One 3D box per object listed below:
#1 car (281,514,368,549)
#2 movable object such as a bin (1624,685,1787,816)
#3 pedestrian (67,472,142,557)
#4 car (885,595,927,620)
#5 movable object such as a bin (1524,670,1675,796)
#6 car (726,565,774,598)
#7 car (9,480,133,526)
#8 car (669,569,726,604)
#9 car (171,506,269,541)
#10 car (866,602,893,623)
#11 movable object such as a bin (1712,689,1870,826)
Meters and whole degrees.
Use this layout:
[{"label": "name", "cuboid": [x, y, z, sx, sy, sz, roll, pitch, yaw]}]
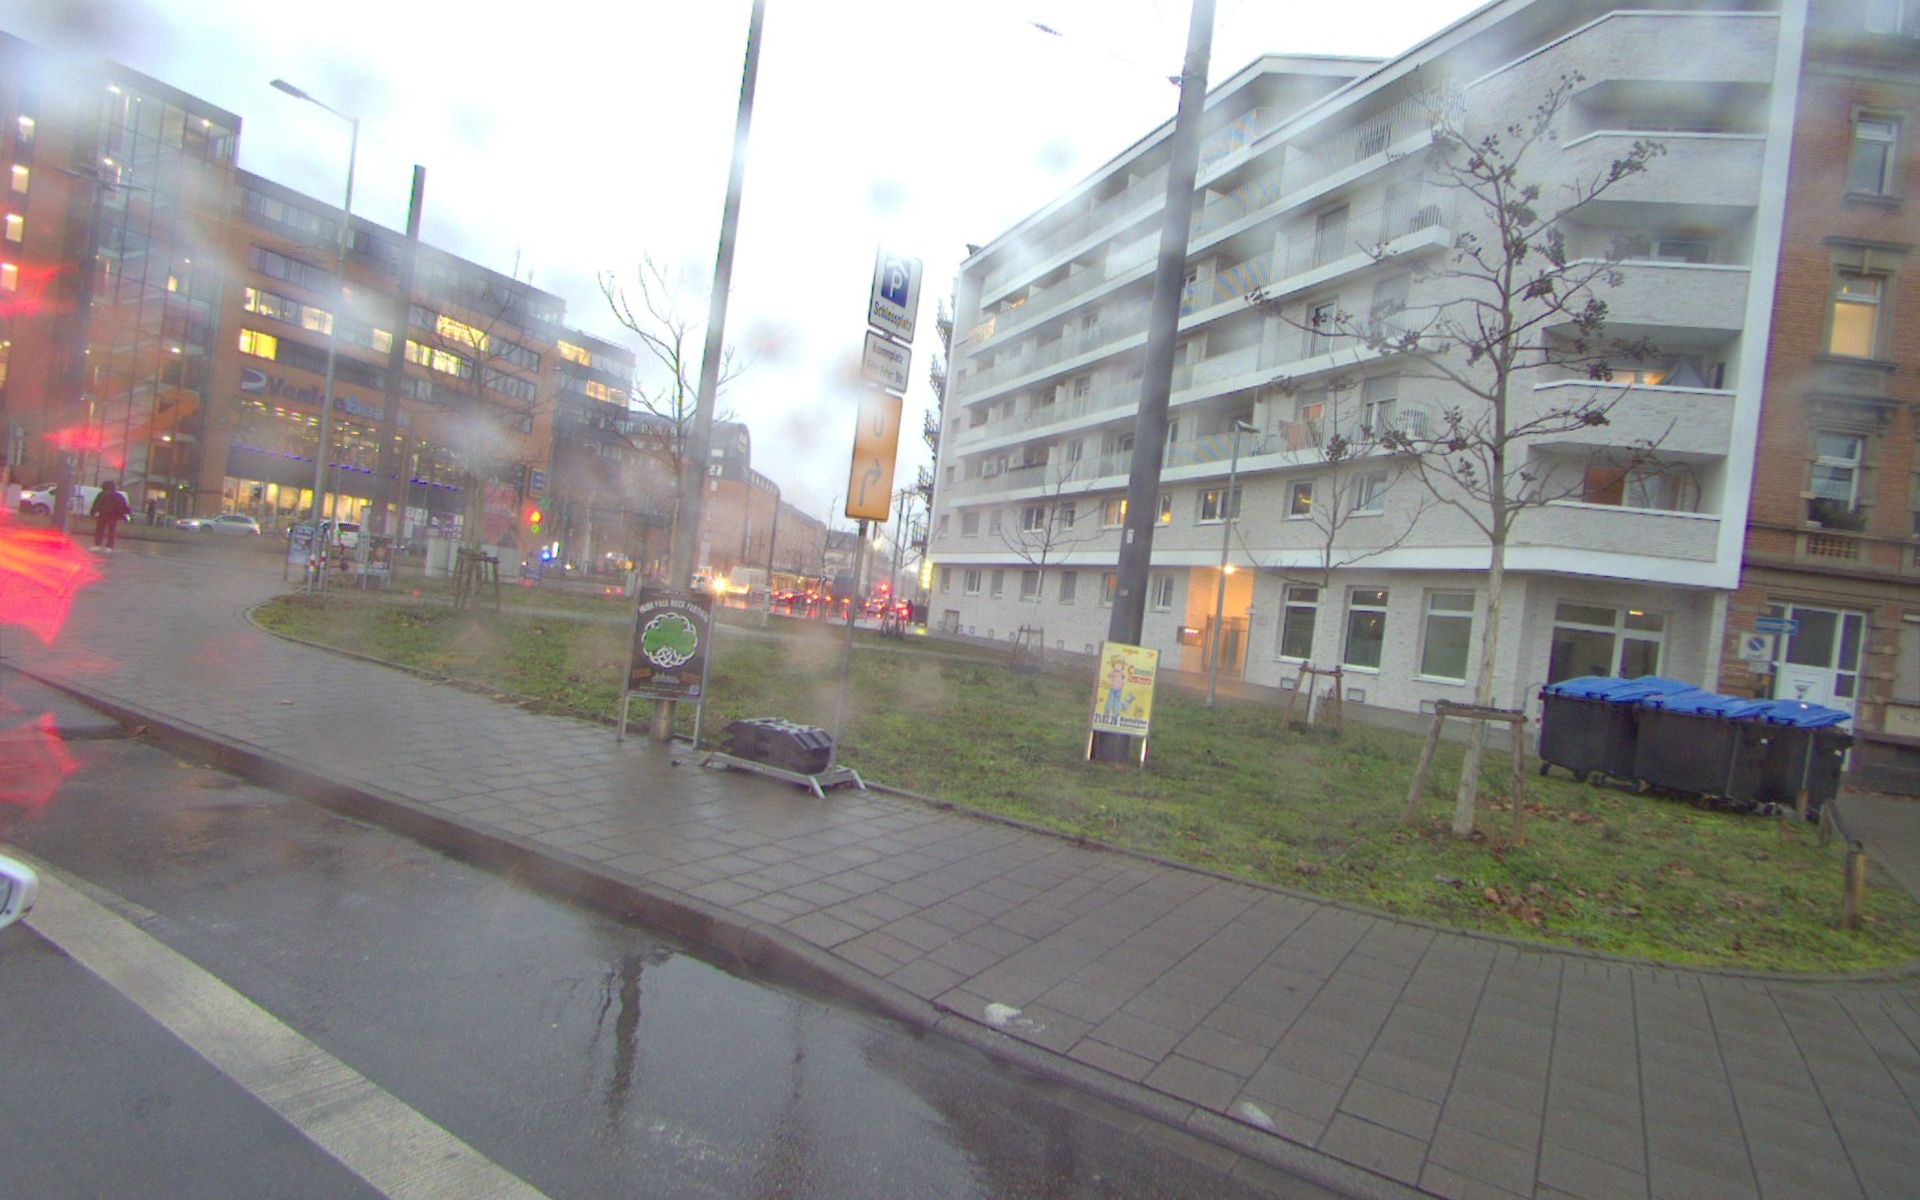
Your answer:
[{"label": "car", "cuboid": [-41.281, -4.442, 65.479, 1.767, 1.553, 4.444, 7, -1, 25]}, {"label": "movable object such as a bin", "cuboid": [9.567, 1.908, 12.953, 1.003, 1.434, 1.218, 6, 1, -21]}, {"label": "pedestrian", "cuboid": [-22.050, -2.181, 25.963, 1.164, 1.945, 0.890, 10, -2, -35]}, {"label": "car", "cuboid": [-4.942, 0.735, 92.958, 1.798, 1.873, 4.682, 6, -1, 23]}, {"label": "movable object such as a bin", "cuboid": [9.033, 1.852, 14.259, 1.016, 1.513, 1.324, 7, 0, -18]}, {"label": "car", "cuboid": [-17.503, -1.520, 84.090, 1.962, 2.036, 4.957, 8, -2, 11]}, {"label": "car", "cuboid": [-46.257, -5.029, 52.453, 1.767, 1.614, 4.431, 7, -1, 25]}, {"label": "car", "cuboid": [-19.958, -0.988, 76.607, 1.963, 2.036, 4.004, 8, -2, 22]}, {"label": "car", "cuboid": [-43.698, -4.496, 59.510, 1.767, 1.406, 4.227, 7, -1, 25]}, {"label": "car", "cuboid": [-7.933, 1.275, 99.476, 1.662, 1.636, 3.470, 8, -2, 10]}, {"label": "movable object such as a bin", "cuboid": [10.752, 2.015, 13.051, 1.021, 1.507, 1.039, 9, -2, -12]}]
